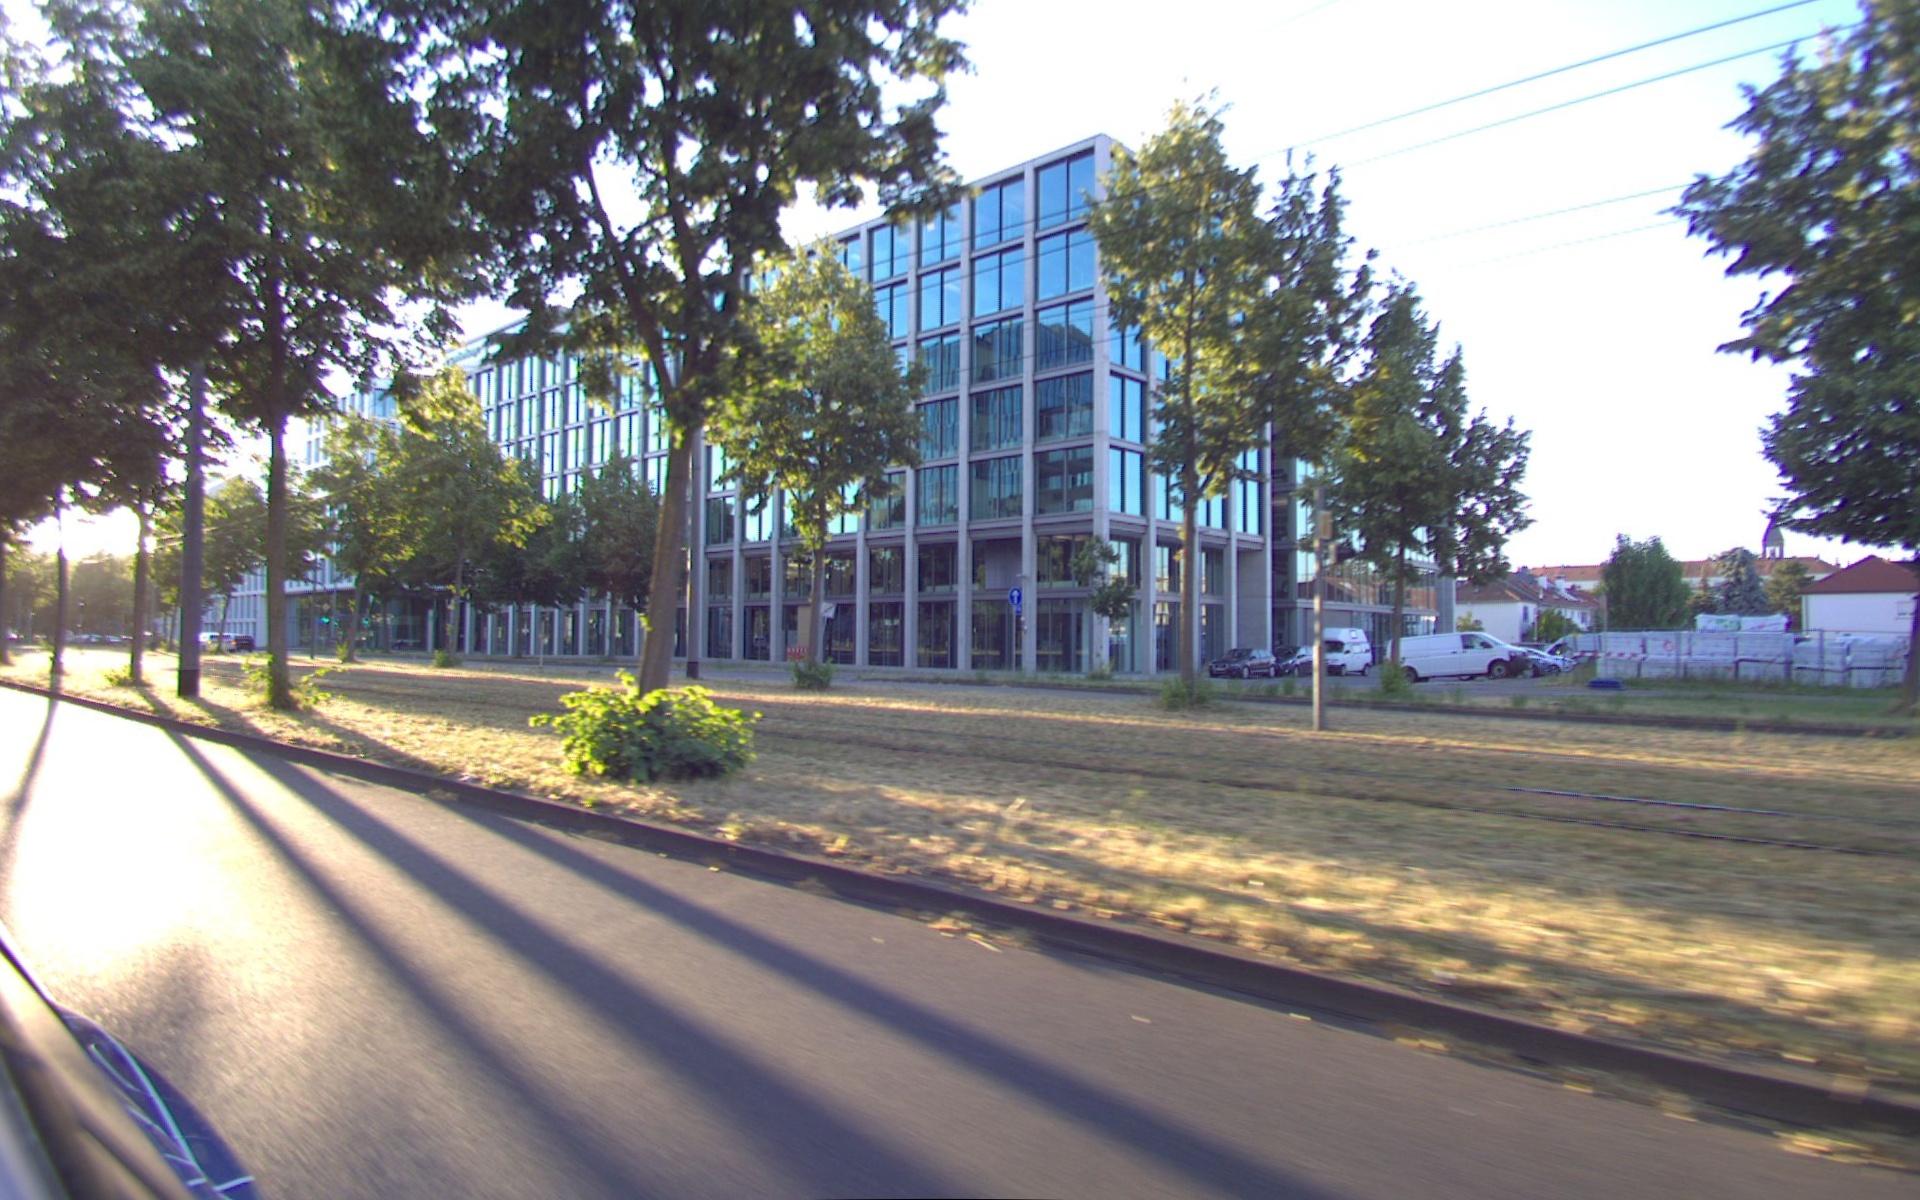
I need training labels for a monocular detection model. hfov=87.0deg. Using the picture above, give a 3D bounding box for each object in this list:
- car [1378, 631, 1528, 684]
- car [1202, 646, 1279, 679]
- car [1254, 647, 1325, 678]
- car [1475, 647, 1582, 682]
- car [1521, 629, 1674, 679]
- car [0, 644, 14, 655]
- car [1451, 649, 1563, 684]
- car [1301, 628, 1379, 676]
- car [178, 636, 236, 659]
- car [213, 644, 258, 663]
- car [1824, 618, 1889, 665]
[{"bbox_3d":[19.823,2.275,40.813,5.080,2.029,2.183,-2,-3,41],"label":"car"},{"bbox_3d":[13.165,2.909,47.432,1.894,1.457,3.943,-2,-3,43],"label":"car"},{"bbox_3d":[16.643,3.104,50.996,1.895,1.457,3.942,-2,-3,44],"label":"car"},{"bbox_3d":[26.194,2.935,46.668,3.997,1.521,1.973,-2,-3,40],"label":"car"},{"bbox_3d":[37.384,3.112,59.513,7.303,2.787,2.443,-2,-3,40],"label":"car"},{"bbox_3d":[-137.884,7.143,145.758,3.993,1.460,1.625,-2,-3,37],"label":"car"},{"bbox_3d":[24.007,2.894,44.464,3.997,1.429,1.973,-2,-3,40],"label":"car"},{"bbox_3d":[20.794,2.787,55.218,1.973,2.486,5.420,-2,-3,44],"label":"car"},{"bbox_3d":[-49.486,3.098,66.494,4.625,1.497,1.884,-2,-3,38],"label":"car"},{"bbox_3d":[-58.500,4.290,81.642,4.385,1.433,1.911,-2,-3,40],"label":"car"},{"bbox_3d":[54.514,2.520,61.641,2.311,2.703,6.140,-1,-3,36],"label":"car"}]
